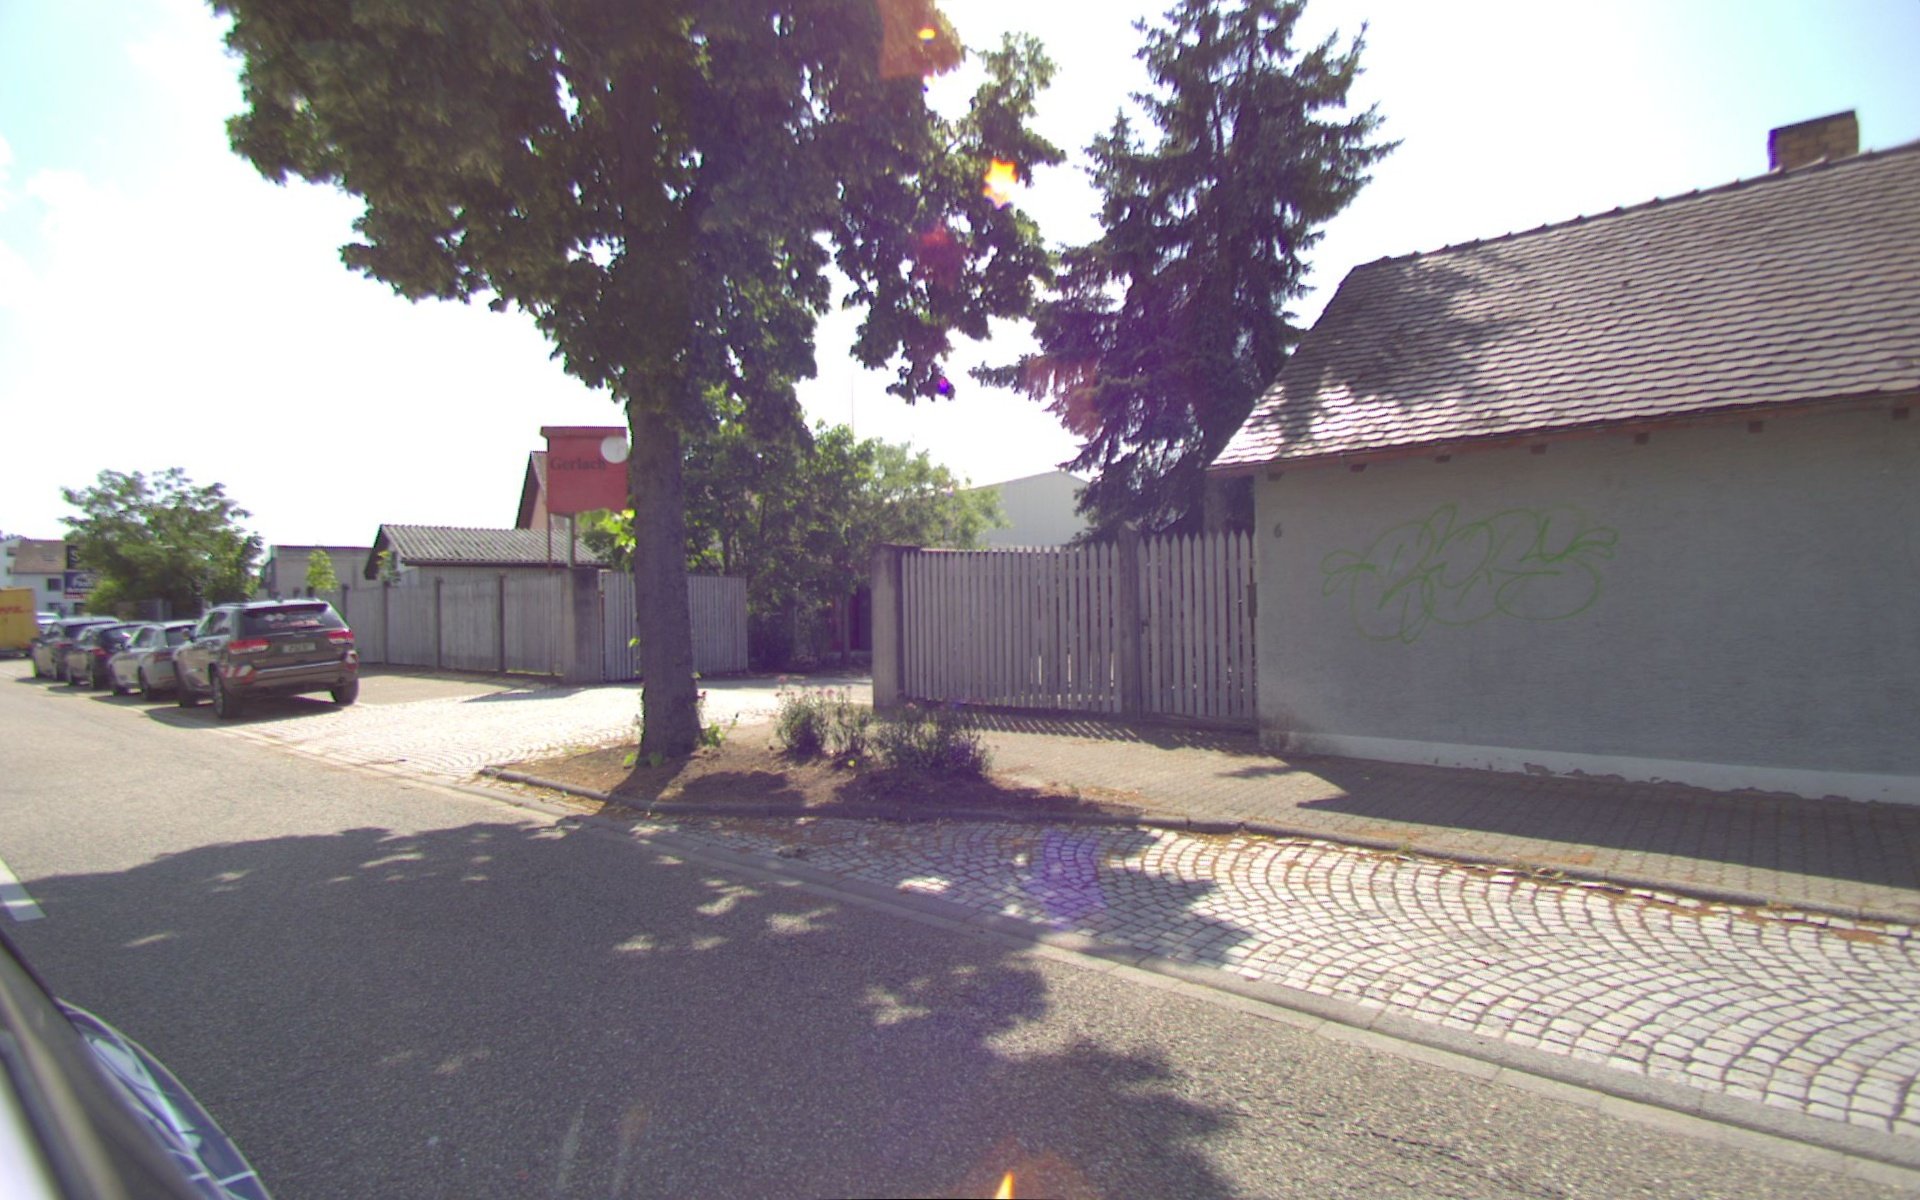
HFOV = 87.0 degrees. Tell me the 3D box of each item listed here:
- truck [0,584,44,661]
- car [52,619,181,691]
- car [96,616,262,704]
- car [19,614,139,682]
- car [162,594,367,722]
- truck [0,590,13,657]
[{"bbox_3d":[-39.243,0.934,40.952,7.100,2.884,2.292,-2,1,41],"label":"truck"},{"bbox_3d":[-20.285,1.269,24.290,4.023,1.459,1.612,-1,3,40],"label":"car"},{"bbox_3d":[-16.016,1.164,20.663,4.739,1.529,1.716,-2,1,41],"label":"car"},{"bbox_3d":[-24.163,1.280,27.712,4.409,1.616,1.708,-1,2,39],"label":"car"},{"bbox_3d":[-11.891,0.872,17.166,4.786,1.836,1.898,-1,1,44],"label":"car"},{"bbox_3d":[-44.788,1.145,45.615,7.169,2.876,2.246,-2,-1,40],"label":"truck"}]
